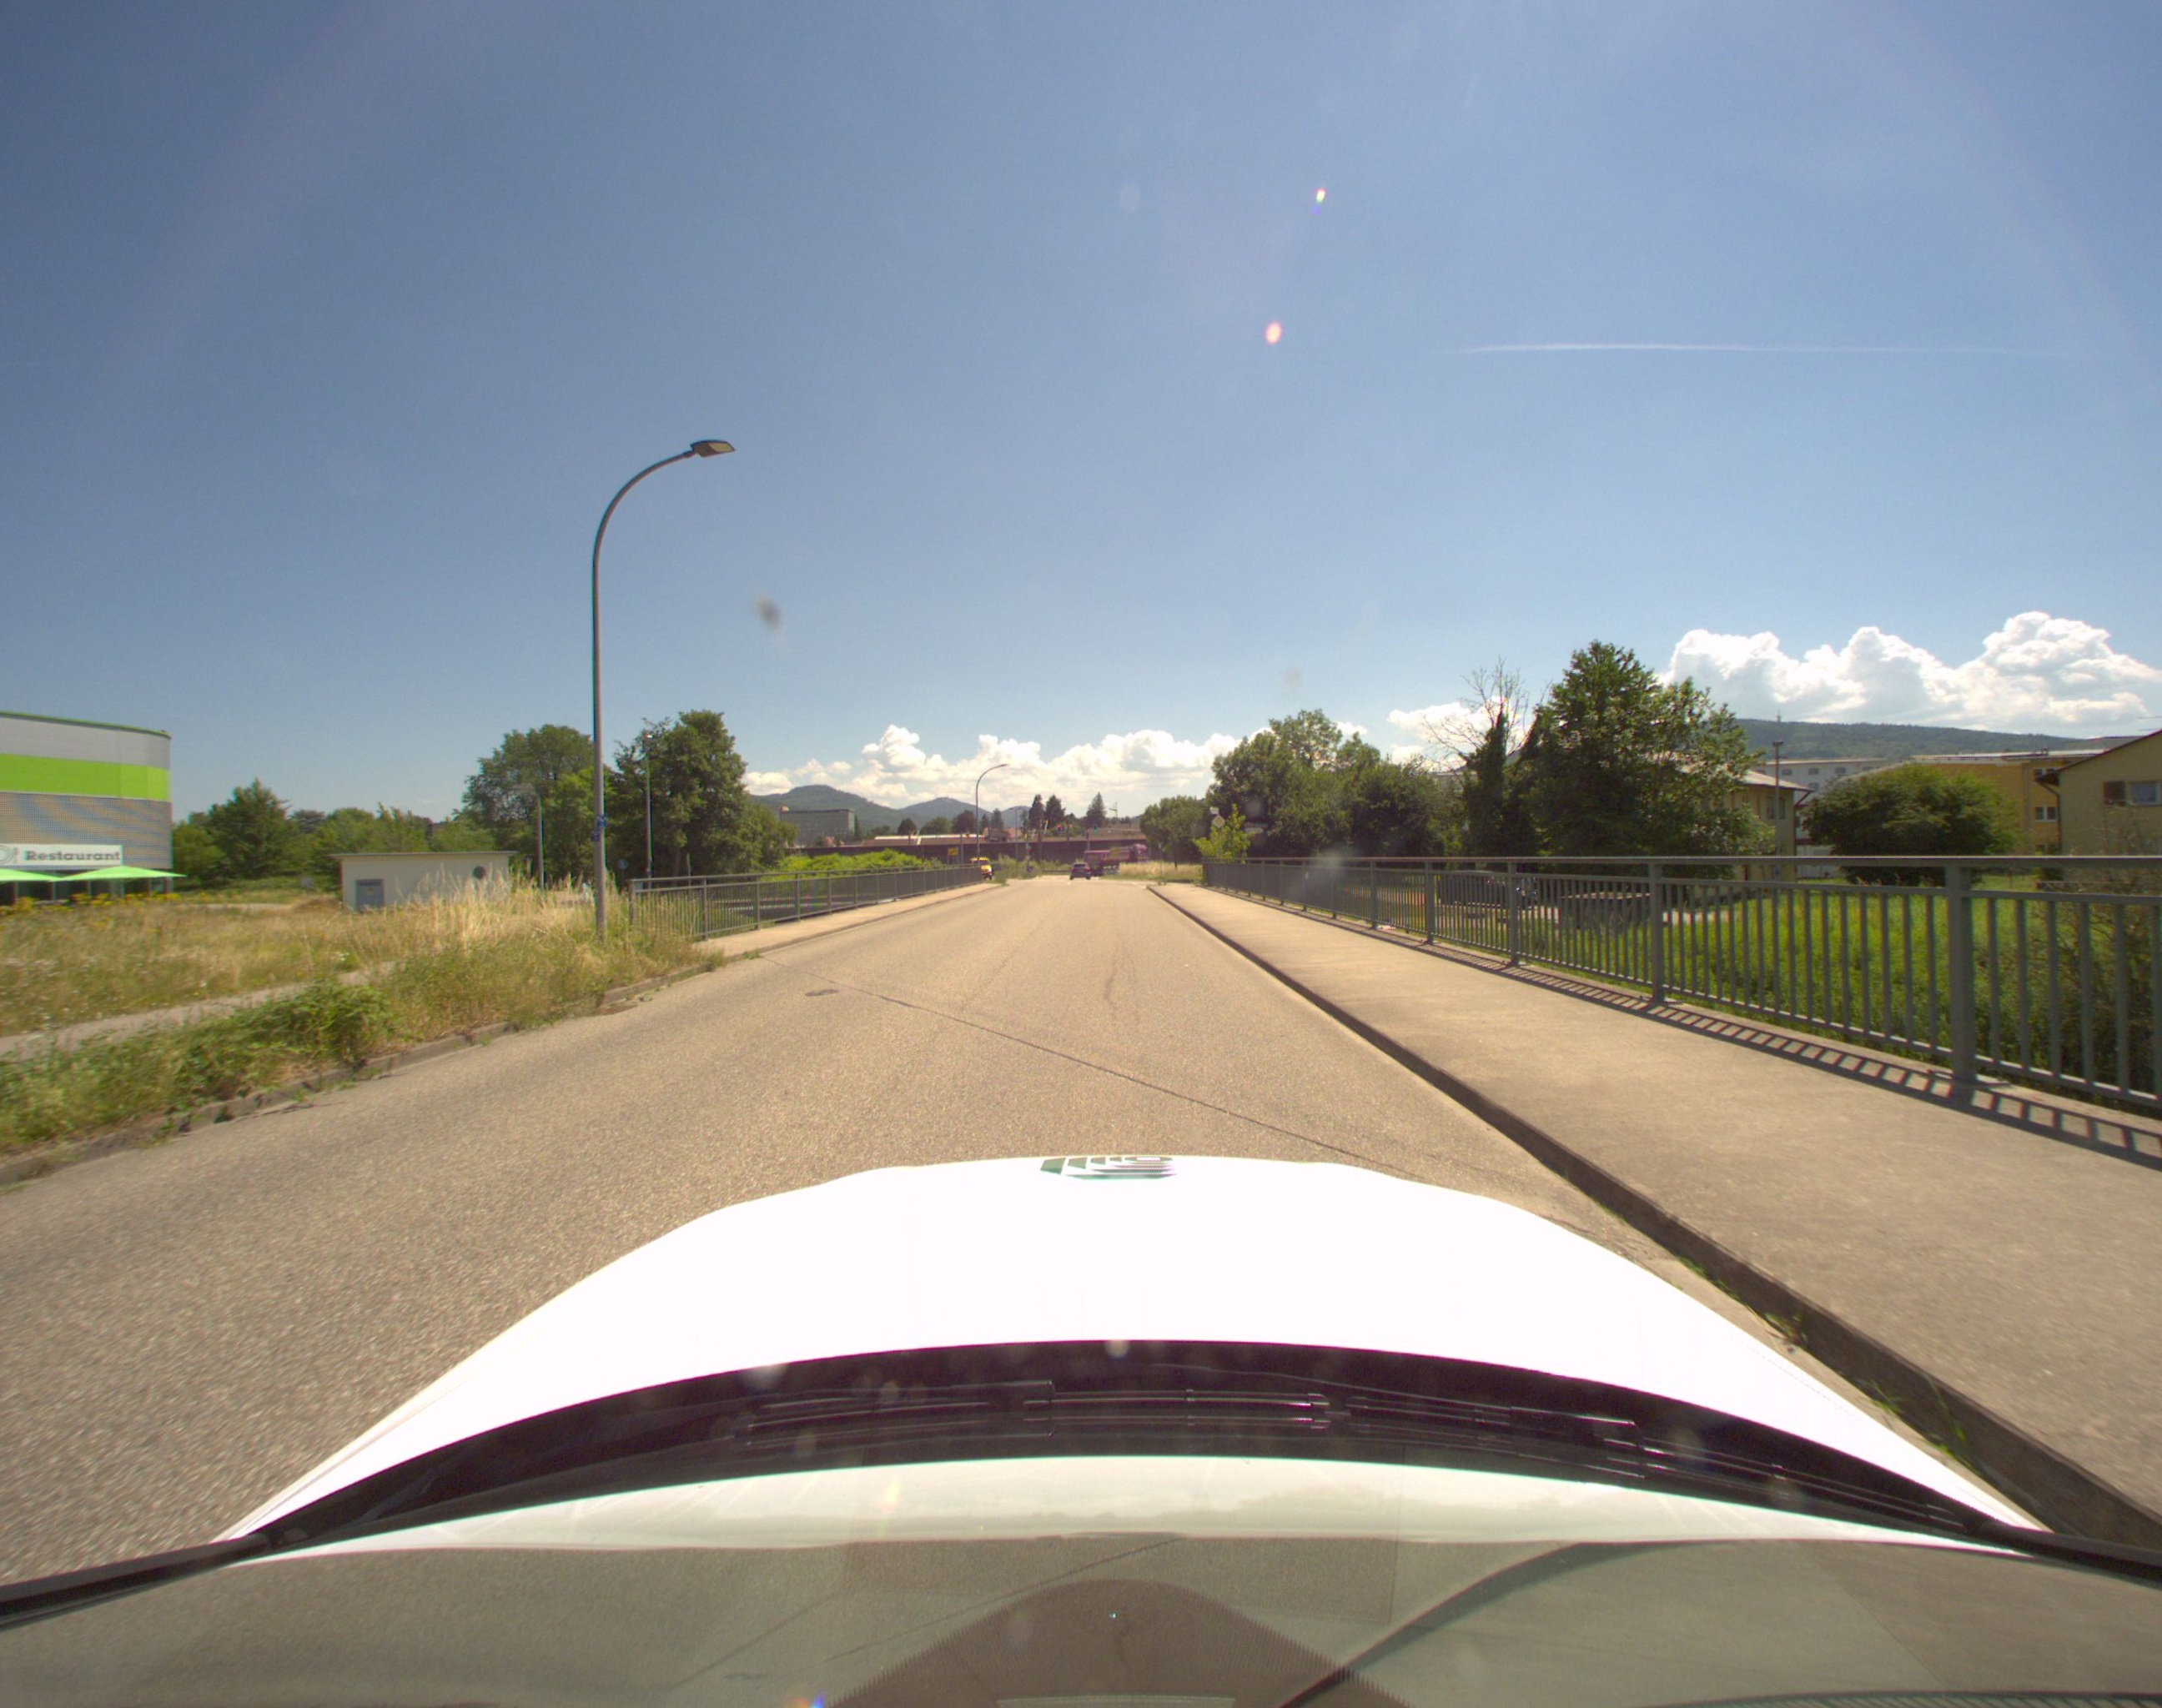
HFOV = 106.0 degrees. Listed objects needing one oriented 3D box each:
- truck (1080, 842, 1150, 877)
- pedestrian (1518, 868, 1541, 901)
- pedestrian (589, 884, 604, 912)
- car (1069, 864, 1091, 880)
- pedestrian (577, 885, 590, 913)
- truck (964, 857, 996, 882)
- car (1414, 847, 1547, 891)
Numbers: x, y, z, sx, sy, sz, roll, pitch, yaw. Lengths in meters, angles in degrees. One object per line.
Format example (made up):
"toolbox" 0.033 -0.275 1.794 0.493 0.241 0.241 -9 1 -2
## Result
"truck" 4.392 0.804 102.109 2.967 4.181 11.881 -2 -2 34
"pedestrian" 20.434 1.375 37.097 0.676 1.392 0.853 -3 2 13
"pedestrian" -29.335 2.672 49.362 0.629 1.674 0.594 1 -2 -20
"car" -0.088 1.649 75.722 1.987 1.503 3.999 0 -1 0
"pedestrian" -29.855 2.679 48.905 0.515 1.674 0.624 1 -2 -21
"truck" -10.703 1.652 85.800 2.314 2.338 9.007 -3 -2 -14
"car" 16.287 0.590 33.367 2.009 1.624 4.463 -2 0 -36
